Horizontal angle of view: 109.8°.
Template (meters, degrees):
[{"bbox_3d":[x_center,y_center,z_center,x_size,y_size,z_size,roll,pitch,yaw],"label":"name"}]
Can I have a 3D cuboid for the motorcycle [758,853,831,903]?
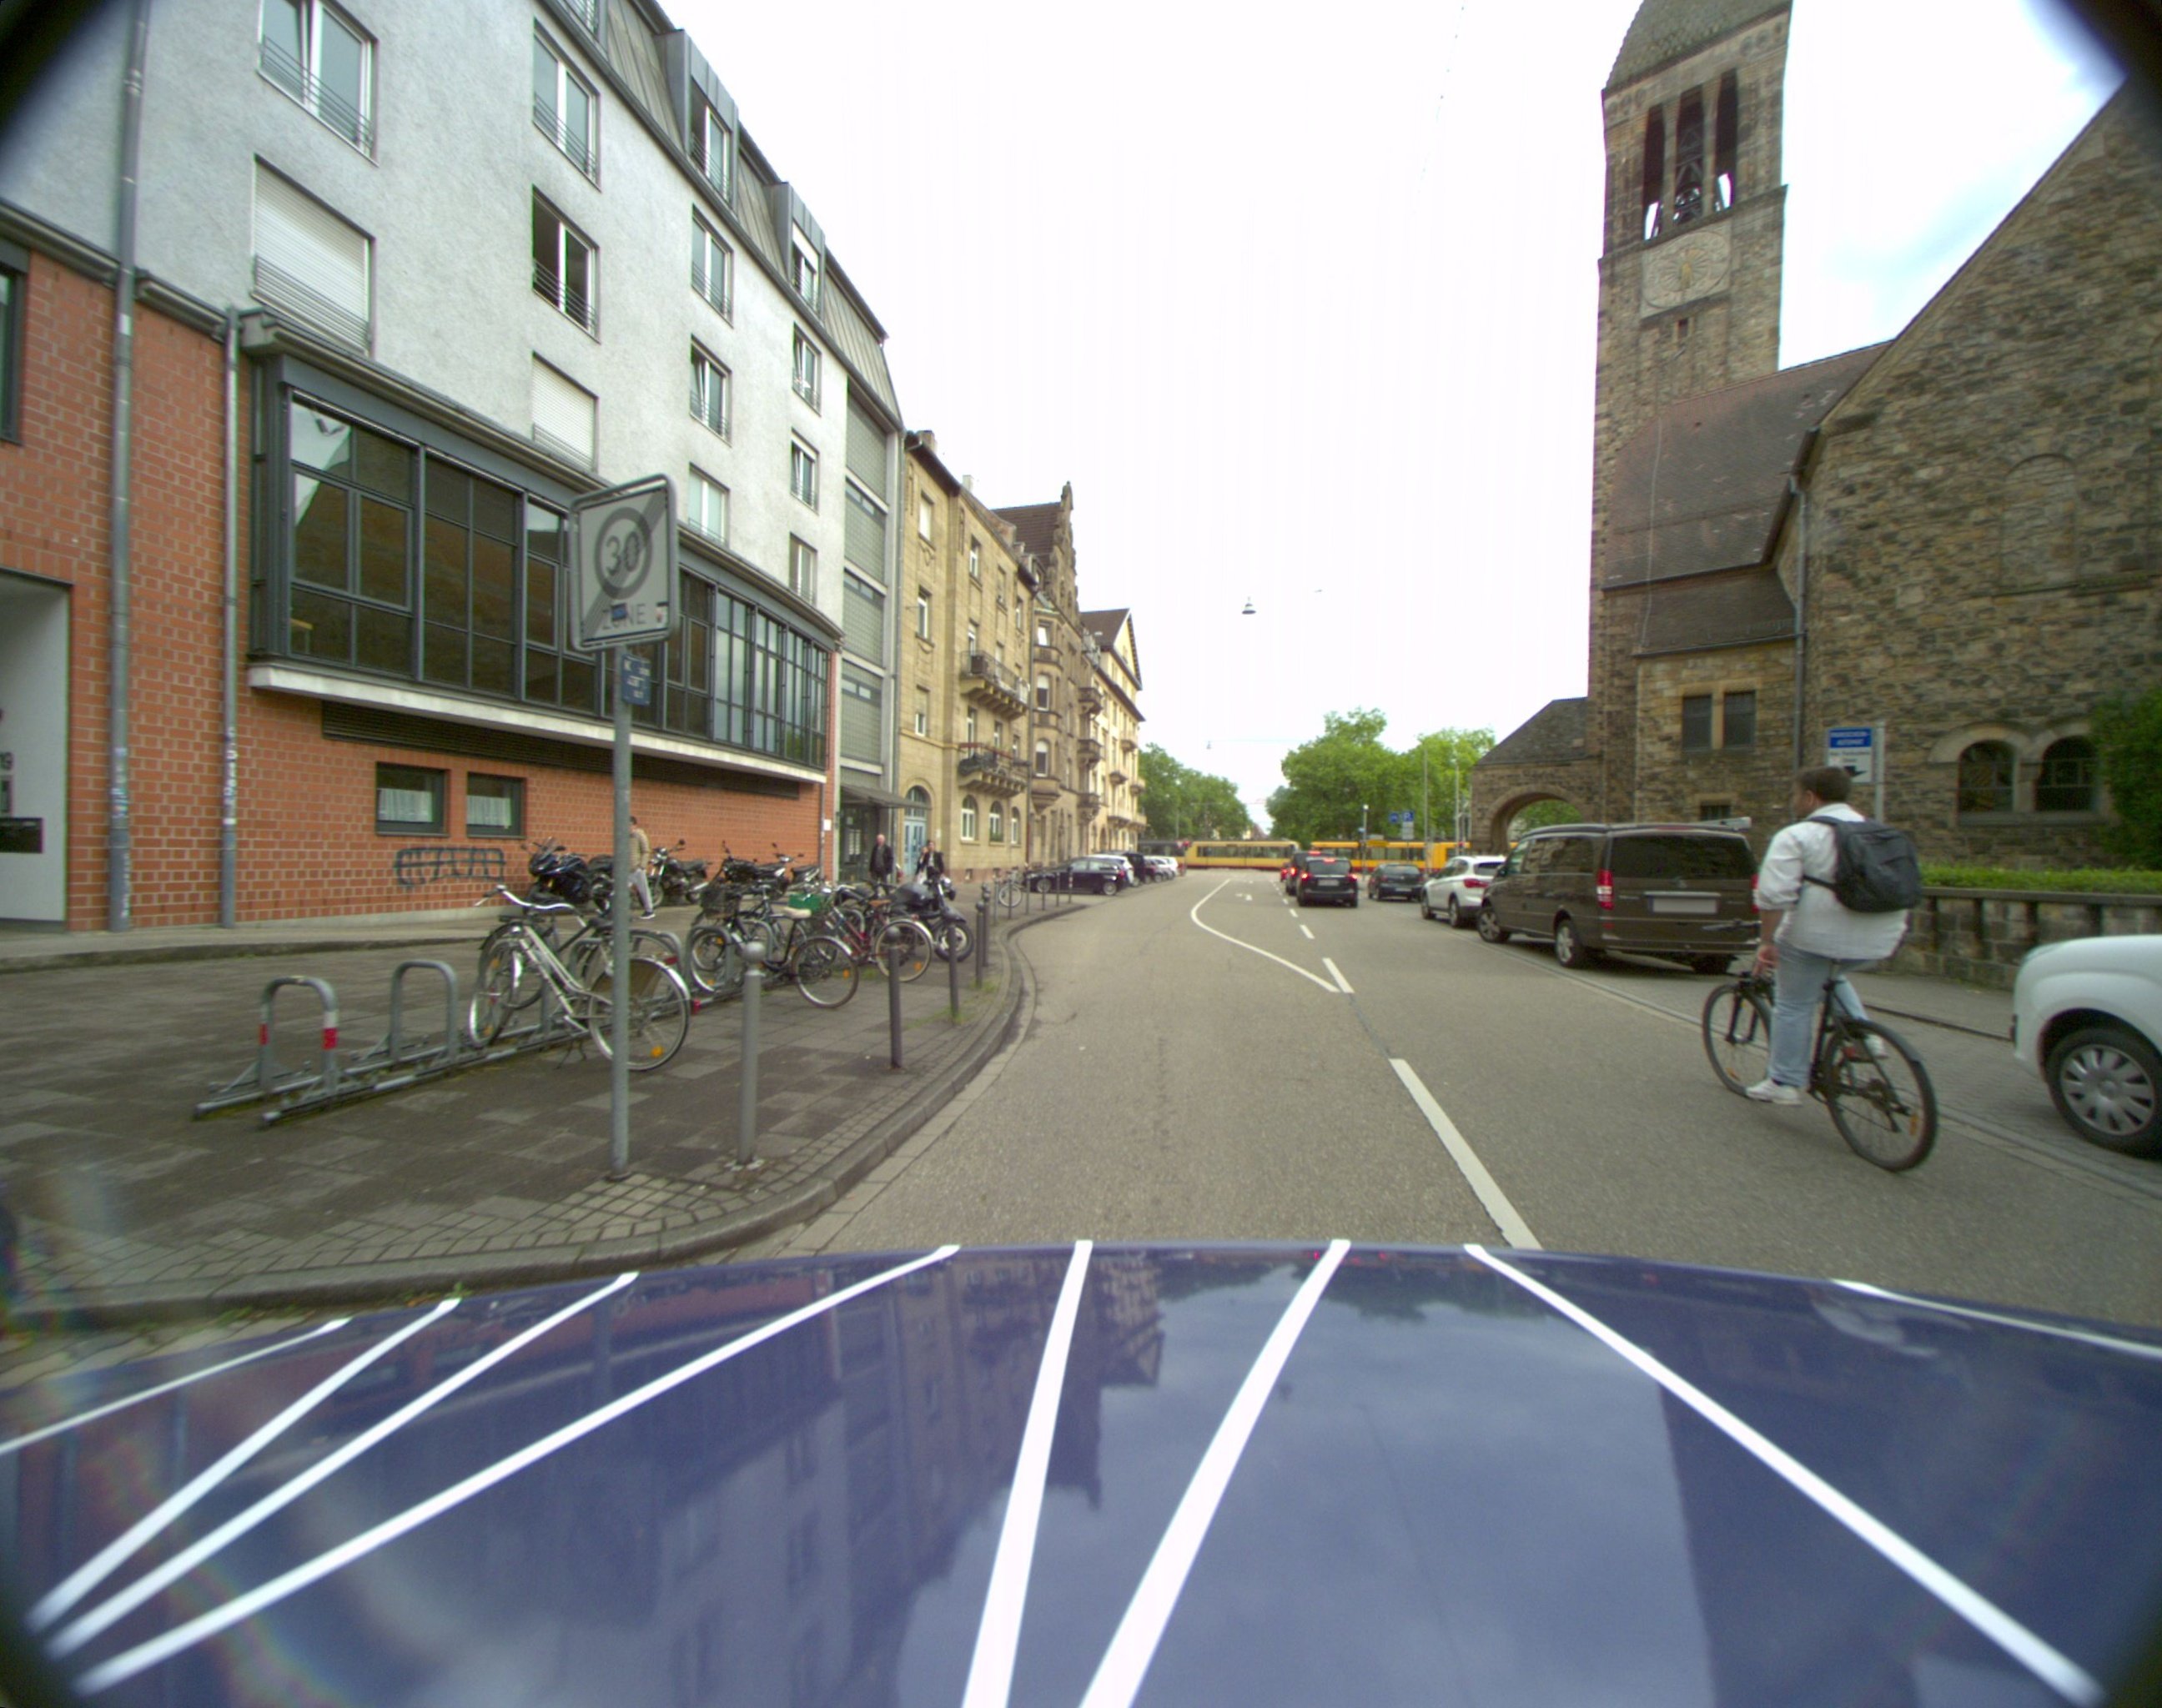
[{"bbox_3d":[-7.163,0.603,19.061,0.601,1.186,1.570,3,-1,36],"label":"motorcycle"}]

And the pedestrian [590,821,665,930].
[{"bbox_3d":[-7.619,0.345,12.787,0.631,1.744,0.812,4,1,10],"label":"pedestrian"}]

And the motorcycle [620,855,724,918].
[{"bbox_3d":[-8.154,0.611,15.263,0.602,1.137,2.072,2,1,13],"label":"motorcycle"}]

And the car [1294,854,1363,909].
[{"bbox_3d":[8.246,0.867,25.678,1.847,1.674,4.553,1,0,13],"label":"car"}]

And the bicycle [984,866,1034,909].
[{"bbox_3d":[-2.035,0.914,21.179,0.731,1.098,1.732,2,1,-28],"label":"bicycle"}]

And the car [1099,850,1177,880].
[{"bbox_3d":[3.779,0.738,50.624,4.759,1.676,1.932,3,1,-23],"label":"car"}]

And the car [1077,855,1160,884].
[{"bbox_3d":[2.216,0.902,44.600,4.472,1.543,1.847,2,1,-26],"label":"car"}]

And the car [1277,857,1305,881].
[{"bbox_3d":[14.383,1.030,52.203,1.651,1.519,3.898,3,0,13],"label":"car"}]

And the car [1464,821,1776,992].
[{"bbox_3d":[7.692,0.617,11.635,2.016,2.002,5.188,1,0,12],"label":"car"}]

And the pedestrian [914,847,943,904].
[{"bbox_3d":[-4.164,0.571,20.767,0.519,1.502,0.717,3,2,10],"label":"pedestrian"}]

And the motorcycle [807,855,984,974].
[{"bbox_3d":[-2.464,0.766,10.180,2.137,1.421,0.771,2,2,10],"label":"motorcycle"}]

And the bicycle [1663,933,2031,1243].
[{"bbox_3d":[3.961,1.076,4.176,0.568,1.081,1.989,1,0,18],"label":"bicycle"}]

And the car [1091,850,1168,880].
[{"bbox_3d":[3.031,0.703,47.497,4.473,1.564,1.743,4,0,-26],"label":"car"}]

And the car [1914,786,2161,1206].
[{"bbox_3d":[5.641,0.650,2.415,1.845,1.928,4.553,0,0,15],"label":"car"}]

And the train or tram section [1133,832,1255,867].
[{"bbox_3d":[13.537,-0.669,92.737,14.992,4.070,3.662,1,2,39],"label":"train or tram section"}]

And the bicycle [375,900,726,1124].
[{"bbox_3d":[-3.261,0.916,4.713,1.886,1.134,0.612,2,2,10],"label":"bicycle"}]

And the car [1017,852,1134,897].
[{"bbox_3d":[-0.213,0.806,30.190,4.266,1.469,1.681,4,0,-20],"label":"car"}]

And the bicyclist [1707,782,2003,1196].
[{"bbox_3d":[3.837,0.603,3.855,0.783,1.855,0.715,1,0,18],"label":"bicyclist"}]

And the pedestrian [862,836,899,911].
[{"bbox_3d":[-4.866,0.460,18.471,0.644,1.761,0.542,3,2,12],"label":"pedestrian"}]

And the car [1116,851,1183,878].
[{"bbox_3d":[4.842,0.757,53.852,4.230,1.673,1.912,2,1,-21],"label":"car"}]

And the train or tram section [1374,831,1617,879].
[{"bbox_3d":[38.725,-0.106,72.366,19.887,4.070,3.635,1,2,39],"label":"train or tram section"}]

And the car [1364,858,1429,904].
[{"bbox_3d":[11.777,0.962,28.540,1.649,1.500,3.775,-1,1,13],"label":"car"}]

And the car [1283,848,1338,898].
[{"bbox_3d":[9.761,0.753,32.675,1.915,1.943,5.289,1,0,13],"label":"car"}]

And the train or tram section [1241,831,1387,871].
[{"bbox_3d":[25.193,-0.418,83.301,14.992,4.070,3.589,1,2,39],"label":"train or tram section"}]

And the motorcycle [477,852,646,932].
[{"bbox_3d":[-8.654,0.587,12.809,1.029,1.195,2.211,2,0,12],"label":"motorcycle"}]

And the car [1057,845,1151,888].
[{"bbox_3d":[1.185,0.652,38.614,4.290,1.895,1.875,4,0,-28],"label":"car"}]

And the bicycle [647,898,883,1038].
[{"bbox_3d":[-2.791,0.975,6.750,1.886,1.037,0.612,2,2,10],"label":"bicycle"}]

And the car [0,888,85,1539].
[{"bbox_3d":[-4.340,0.798,0.385,4.292,1.569,1.860,3,1,-20],"label":"car"}]

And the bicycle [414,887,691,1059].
[{"bbox_3d":[-4.113,0.885,5.950,1.886,1.134,0.612,2,2,10],"label":"bicycle"}]

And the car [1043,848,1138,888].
[{"bbox_3d":[0.454,0.661,35.638,4.007,1.592,1.761,4,0,-27],"label":"car"}]

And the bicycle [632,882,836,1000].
[{"bbox_3d":[-3.636,0.880,8.003,1.932,1.071,0.612,2,2,10],"label":"bicycle"}]

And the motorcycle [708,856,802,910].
[{"bbox_3d":[-7.416,0.638,17.345,0.601,1.137,1.886,3,1,38],"label":"motorcycle"}]

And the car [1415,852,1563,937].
[{"bbox_3d":[9.163,0.819,17.501,1.846,1.678,4.437,1,0,12],"label":"car"}]

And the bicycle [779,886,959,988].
[{"bbox_3d":[-2.552,0.978,9.195,2.012,1.056,0.612,2,2,10],"label":"bicycle"}]

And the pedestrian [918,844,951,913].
[{"bbox_3d":[-3.631,0.592,18.833,0.519,1.653,0.717,3,2,10],"label":"pedestrian"}]

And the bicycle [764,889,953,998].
[{"bbox_3d":[-2.478,0.973,8.512,1.932,1.037,0.612,2,2,10],"label":"bicycle"}]

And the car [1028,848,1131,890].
[{"bbox_3d":[-0.095,0.660,33.056,4.003,1.525,1.929,4,0,-16],"label":"car"}]
